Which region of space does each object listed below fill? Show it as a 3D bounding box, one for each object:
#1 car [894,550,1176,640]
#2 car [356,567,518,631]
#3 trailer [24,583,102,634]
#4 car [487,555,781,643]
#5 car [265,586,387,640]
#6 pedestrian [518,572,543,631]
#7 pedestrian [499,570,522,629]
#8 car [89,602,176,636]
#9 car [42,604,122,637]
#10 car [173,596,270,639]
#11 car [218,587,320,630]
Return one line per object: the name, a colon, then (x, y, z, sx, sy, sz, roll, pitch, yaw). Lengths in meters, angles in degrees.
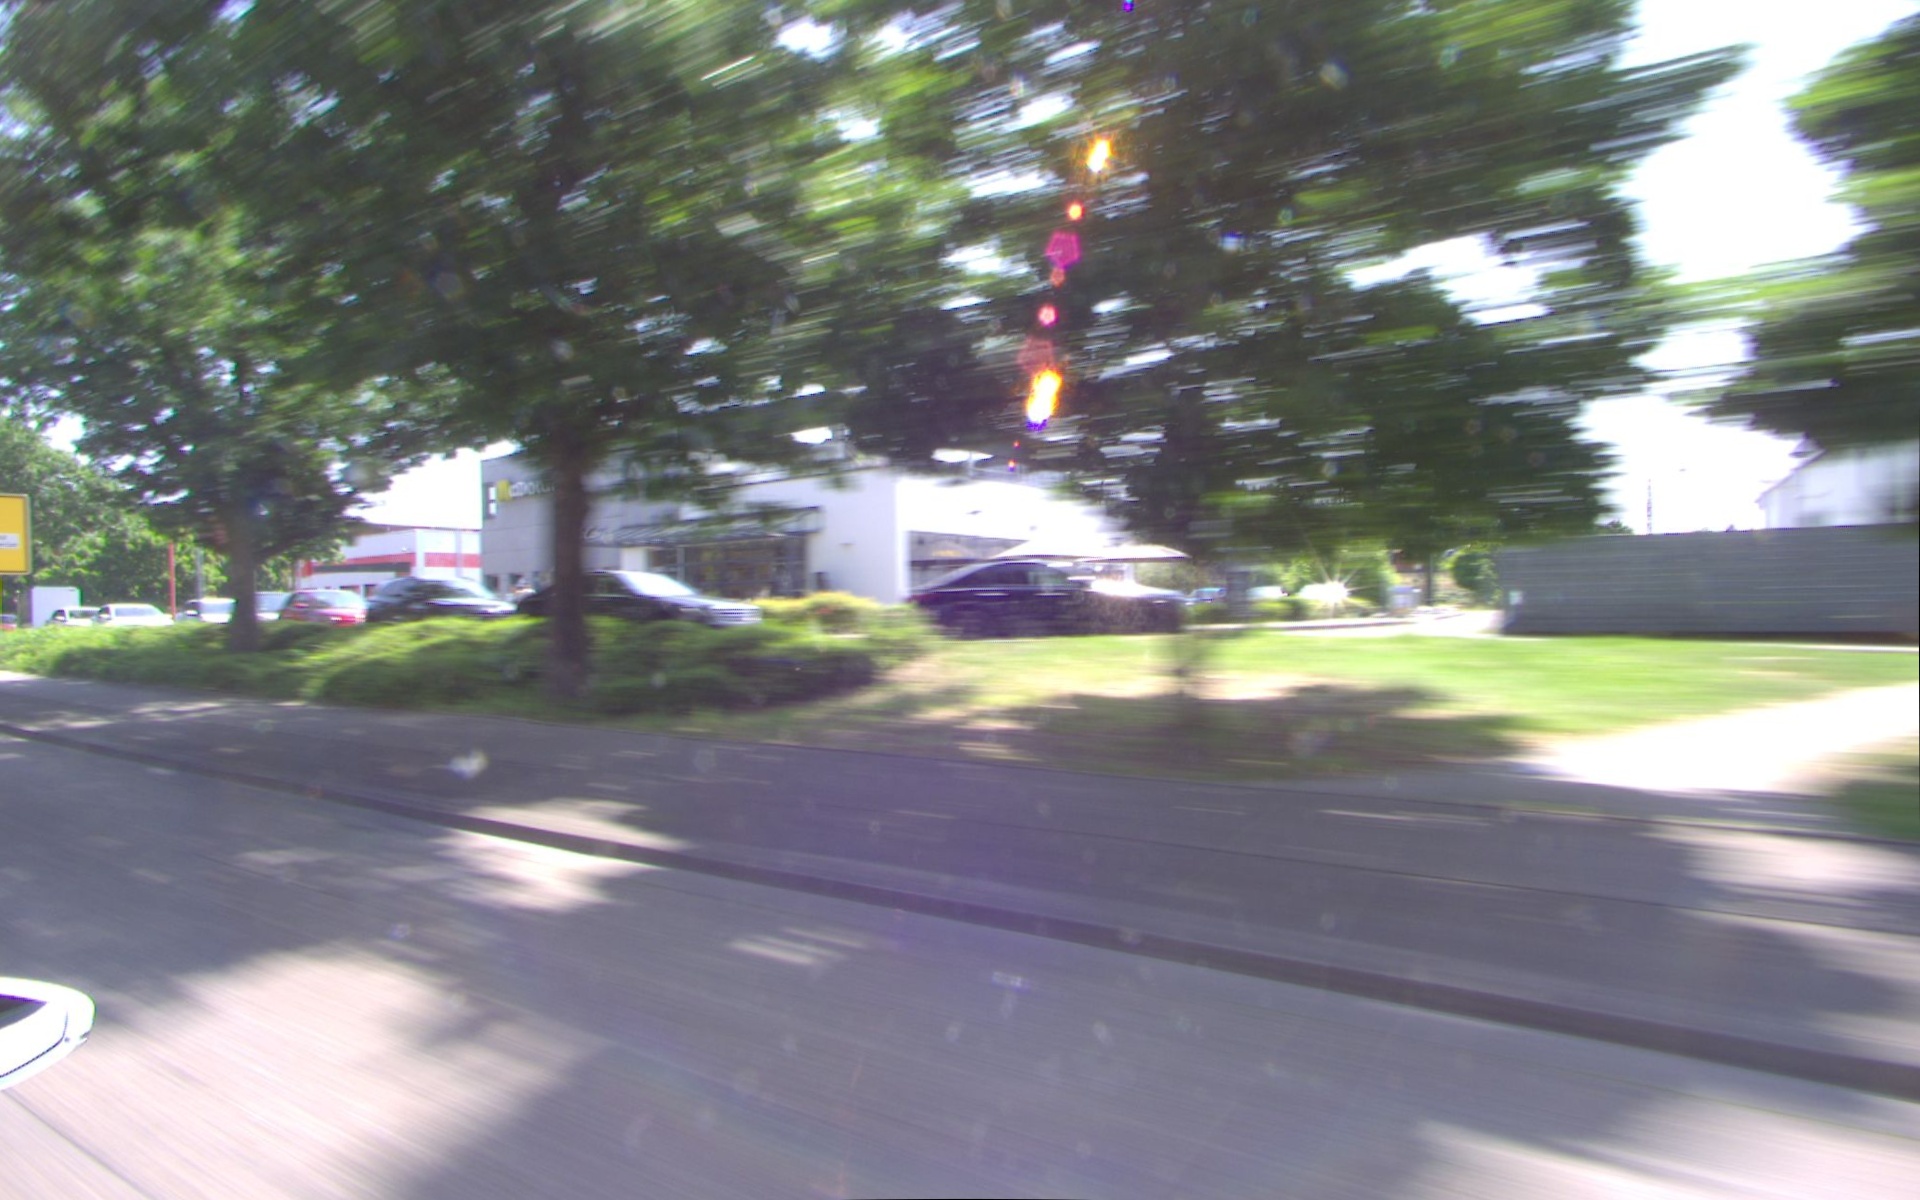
car: (1.230, -0.088, 17.496, 4.623, 1.370, 1.953, -1, 0, 0)
car: (-11.678, 0.033, 22.263, 4.146, 1.268, 1.614, -2, -2, 37)
trailer: (-38.545, 0.361, 42.972, 5.417, 2.082, 1.693, 0, 0, 39)
car: (-6.224, 0.047, 18.959, 5.511, 1.470, 1.905, -1, -1, 26)
car: (-16.274, 0.355, 25.664, 3.720, 1.269, 1.611, -2, -1, 40)
pedestrian: (-14.243, 0.056, 33.200, 0.403, 1.947, 0.579, 0, 2, 36)
pedestrian: (-14.915, -0.013, 33.243, 0.527, 1.947, 0.464, 0, 2, 36)
car: (-29.768, 0.686, 36.014, 3.690, 1.173, 1.588, -1, -1, 37)
car: (-34.820, 0.830, 39.692, 3.583, 1.269, 1.614, -1, -1, 36)
car: (-23.299, 0.555, 31.553, 3.821, 1.269, 1.611, -2, -1, 40)
car: (-19.447, 0.246, 28.170, 2.818, 1.137, 1.503, -1, -1, 35)
